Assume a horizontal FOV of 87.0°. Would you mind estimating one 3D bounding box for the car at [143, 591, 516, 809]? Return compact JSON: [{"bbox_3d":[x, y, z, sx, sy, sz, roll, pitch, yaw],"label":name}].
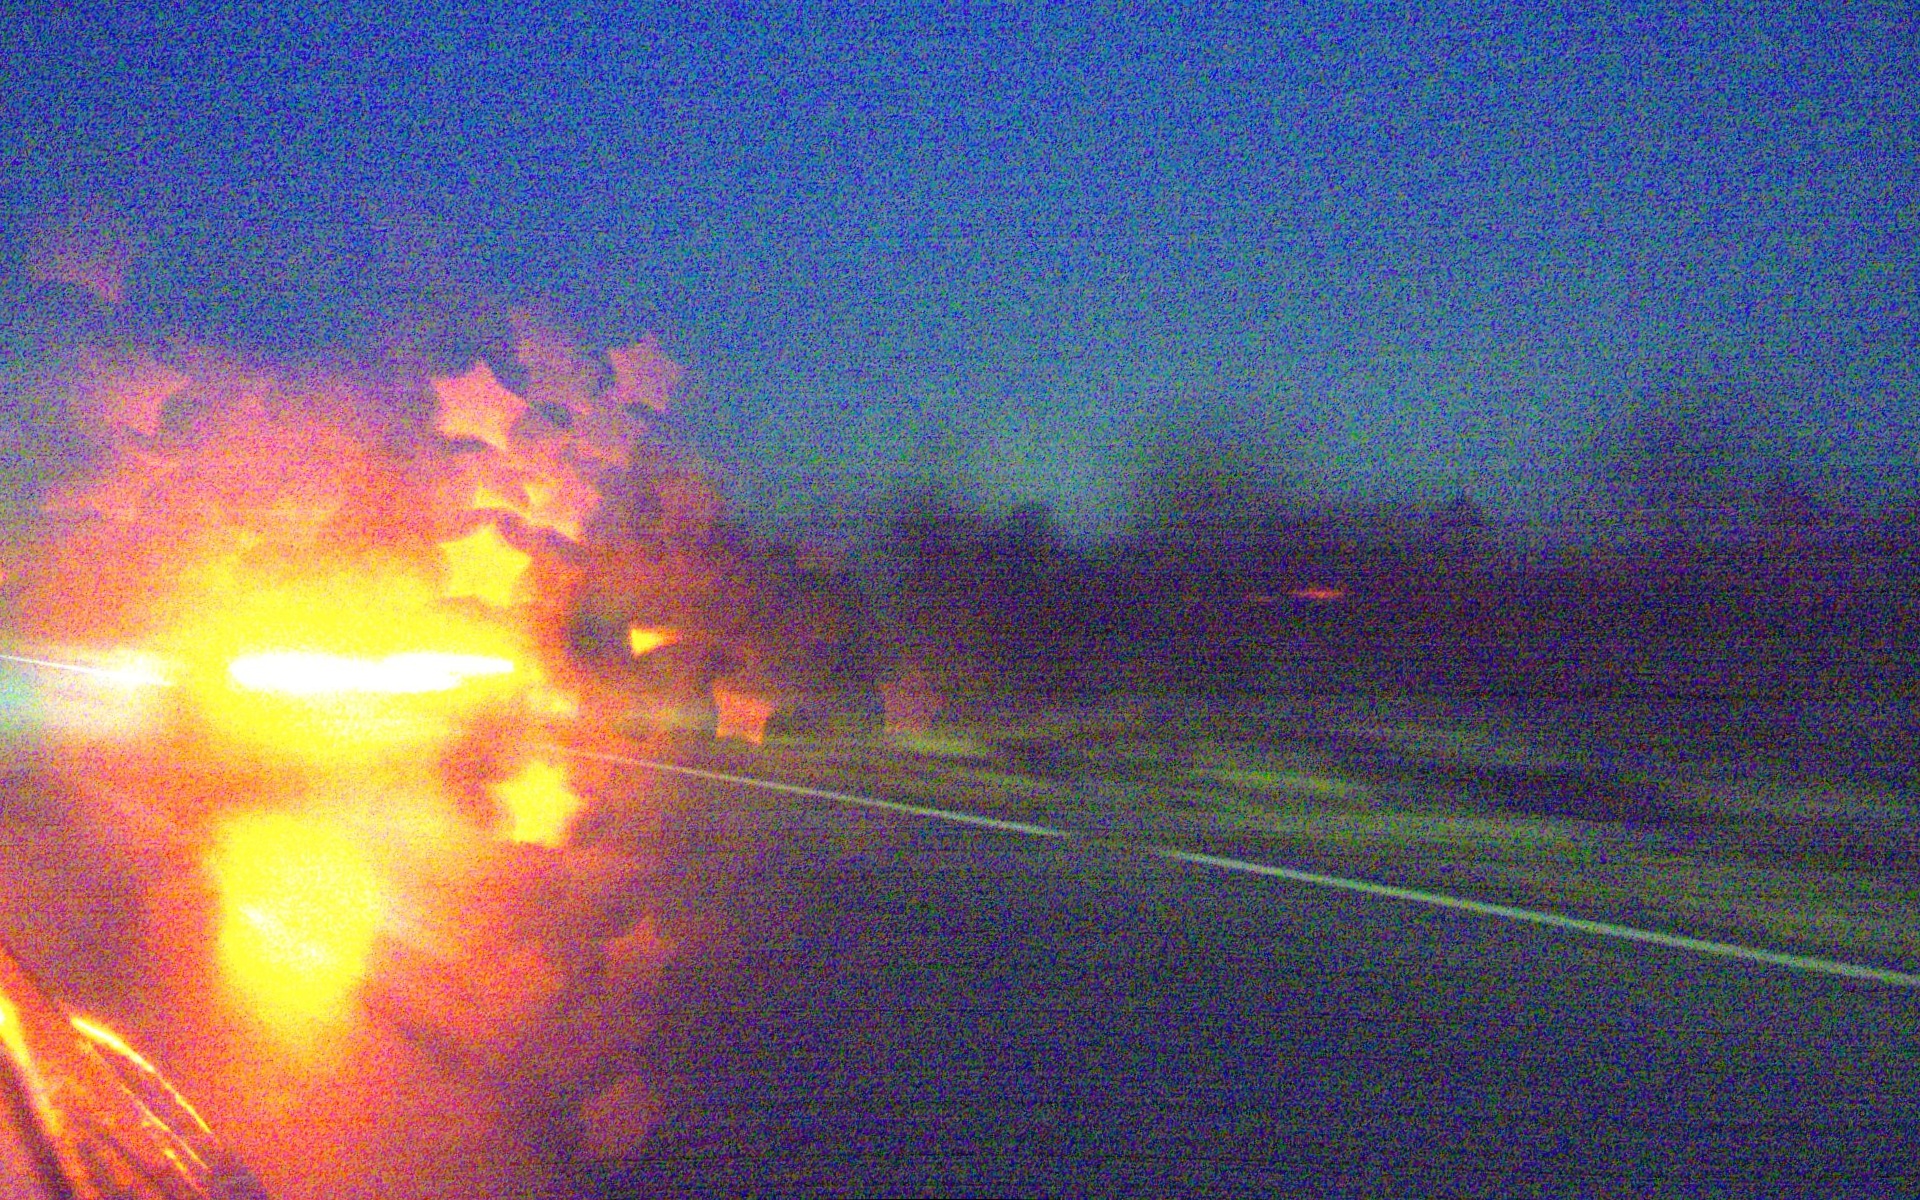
[{"bbox_3d":[-6.142,0.779,9.678,3.998,1.636,1.973,-1,-1,41],"label":"car"}]
